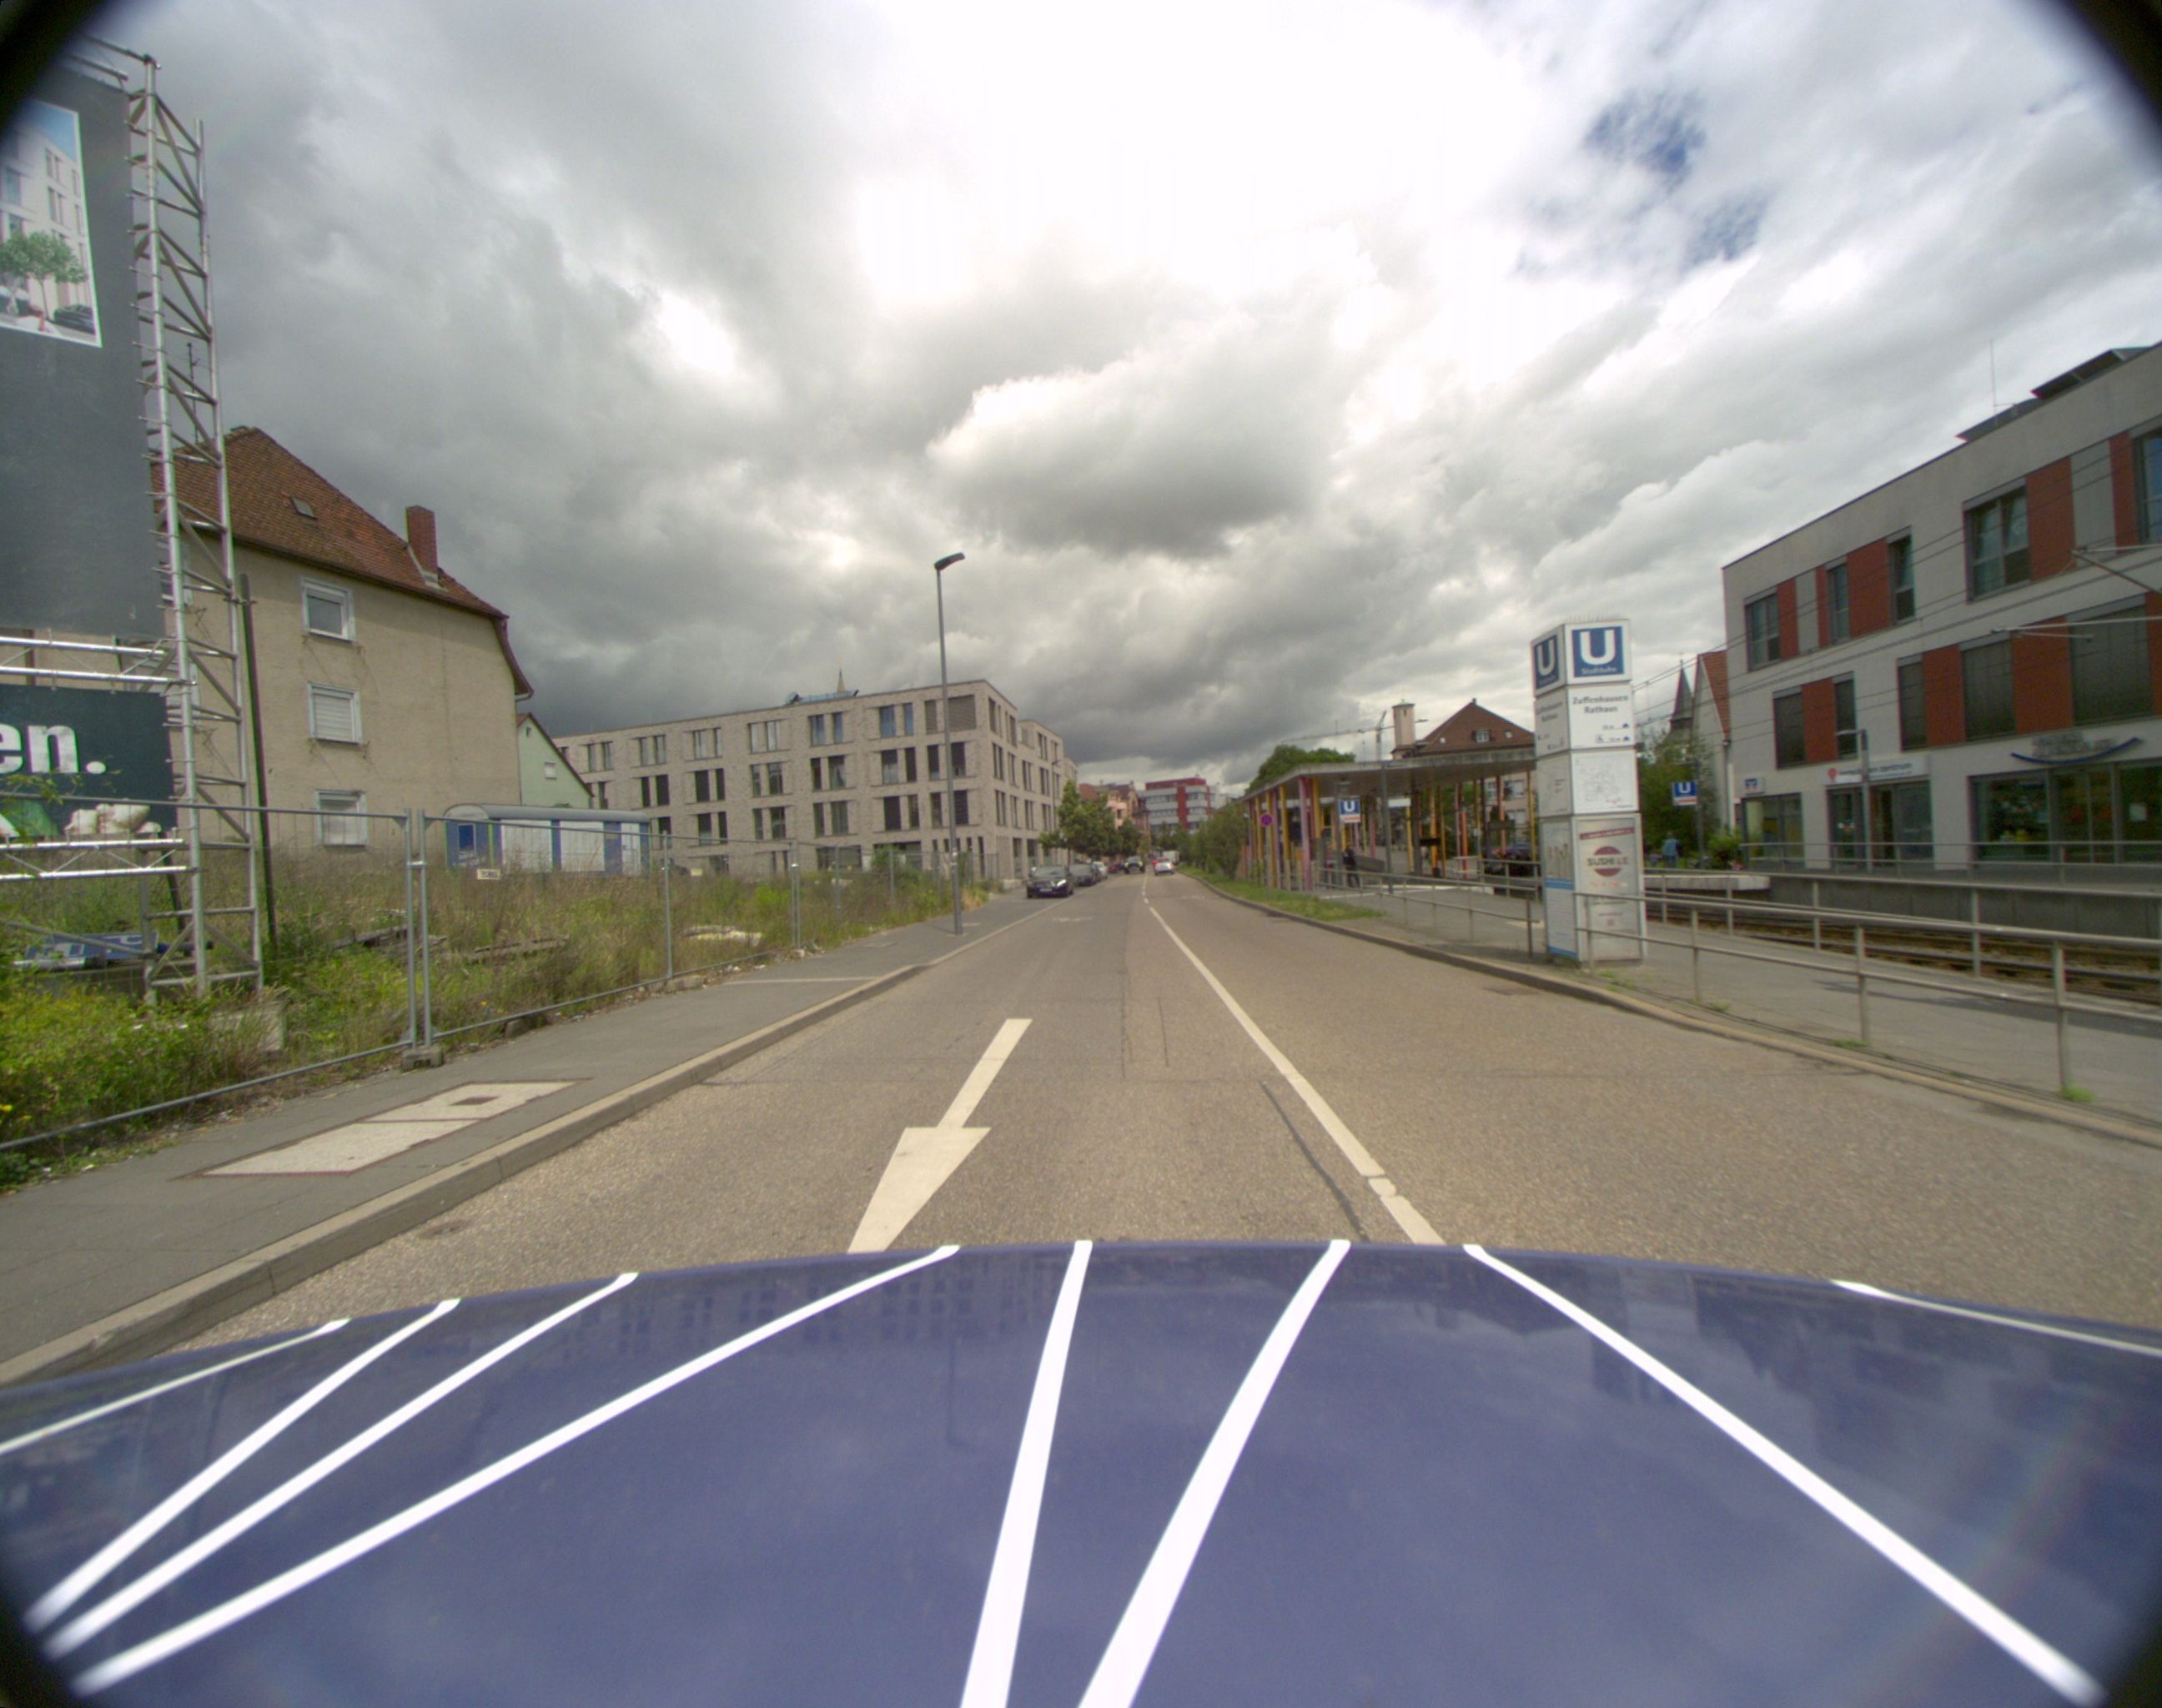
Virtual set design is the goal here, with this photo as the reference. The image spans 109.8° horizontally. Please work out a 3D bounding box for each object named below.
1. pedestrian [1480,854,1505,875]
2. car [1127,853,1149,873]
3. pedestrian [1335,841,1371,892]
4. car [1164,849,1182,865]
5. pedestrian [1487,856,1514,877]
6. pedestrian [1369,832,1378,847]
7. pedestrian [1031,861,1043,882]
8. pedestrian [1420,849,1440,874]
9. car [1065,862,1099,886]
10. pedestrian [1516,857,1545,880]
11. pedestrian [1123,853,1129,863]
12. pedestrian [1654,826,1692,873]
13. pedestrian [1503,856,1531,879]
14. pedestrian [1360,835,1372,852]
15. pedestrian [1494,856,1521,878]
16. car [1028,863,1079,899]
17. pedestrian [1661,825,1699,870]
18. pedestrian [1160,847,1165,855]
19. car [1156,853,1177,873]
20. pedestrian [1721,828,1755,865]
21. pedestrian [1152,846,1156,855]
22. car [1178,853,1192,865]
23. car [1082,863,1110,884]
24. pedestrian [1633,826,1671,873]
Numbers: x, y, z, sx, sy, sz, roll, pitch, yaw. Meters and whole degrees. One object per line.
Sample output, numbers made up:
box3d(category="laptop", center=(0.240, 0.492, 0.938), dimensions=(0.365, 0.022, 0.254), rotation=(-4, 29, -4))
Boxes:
box3d(category="pedestrian", center=(22.793, 0.598, 42.080), dimensions=(0.943, 1.128, 0.886), rotation=(-2, 0, 6))
box3d(category="car", center=(6.227, 0.948, 82.335), dimensions=(2.003, 1.876, 5.153), rotation=(-1, 1, 8))
box3d(category="pedestrian", center=(10.341, 0.475, 28.902), dimensions=(1.104, 1.903, 0.865), rotation=(-1, 1, 6))
box3d(category="car", center=(12.422, 0.368, 102.247), dimensions=(1.997, 2.064, 4.003), rotation=(-1, 1, 11))
box3d(category="pedestrian", center=(22.660, 0.670, 41.049), dimensions=(0.943, 1.128, 0.886), rotation=(-2, 0, 6))
box3d(category="pedestrian", center=(40.165, -2.032, 104.354), dimensions=(1.124, 2.002, 1.662), rotation=(-2, 0, 21))
box3d(category="pedestrian", center=(-3.187, 1.235, 54.814), dimensions=(0.673, 1.503, 0.783), rotation=(-2, 0, 5))
box3d(category="pedestrian", center=(28.345, 0.592, 61.707), dimensions=(1.127, 2.002, 1.180), rotation=(-2, 0, 10))
box3d(category="car", center=(0.098, 1.236, 47.951), dimensions=(1.677, 1.367, 3.797), rotation=(-2, 0, 7))
box3d(category="pedestrian", center=(22.549, 0.710, 38.145), dimensions=(0.943, 1.128, 0.886), rotation=(-2, 0, 6))
box3d(category="pedestrian", center=(6.852, 0.624, 115.009), dimensions=(0.673, 1.503, 0.784), rotation=(-2, 0, 20))
box3d(category="pedestrian", center=(25.366, -0.208, 32.579), dimensions=(0.863, 1.957, 1.106), rotation=(-1, 1, 10))
box3d(category="pedestrian", center=(22.418, 0.701, 39.112), dimensions=(0.943, 1.128, 0.886), rotation=(-2, 0, 6))
box3d(category="pedestrian", center=(33.496, -1.201, 89.262), dimensions=(1.127, 2.002, 0.816), rotation=(-2, 0, 9))
box3d(category="pedestrian", center=(22.497, 0.687, 40.067), dimensions=(0.943, 1.128, 0.886), rotation=(-2, 0, 6))
box3d(category="car", center=(-1.183, 1.167, 34.157), dimensions=(1.677, 1.415, 3.796), rotation=(-1, 1, 7))
box3d(category="pedestrian", center=(26.646, -0.283, 33.816), dimensions=(0.863, 1.957, 1.106), rotation=(-1, 1, 10))
box3d(category="pedestrian", center=(15.300, -0.503, 142.693), dimensions=(0.673, 1.503, 0.783), rotation=(-2, 0, 15))
box3d(category="car", center=(7.345, 0.761, 65.656), dimensions=(1.587, 1.527, 3.947), rotation=(-5, 0, 5))
box3d(category="pedestrian", center=(35.712, -0.387, 41.315), dimensions=(1.104, 1.957, 0.865), rotation=(-1, 1, 14))
box3d(category="pedestrian", center=(13.369, -0.618, 139.193), dimensions=(0.673, 1.503, 0.783), rotation=(-2, 0, 6))
box3d(category="car", center=(16.058, 0.728, 116.970), dimensions=(1.866, 1.696, 4.003), rotation=(-1, 1, 12))
box3d(category="car", center=(1.141, 1.419, 55.808), dimensions=(1.677, 1.299, 3.796), rotation=(-1, 1, 7))
box3d(category="pedestrian", center=(24.577, -0.205, 32.726), dimensions=(0.863, 1.957, 1.106), rotation=(-1, 1, 10))
